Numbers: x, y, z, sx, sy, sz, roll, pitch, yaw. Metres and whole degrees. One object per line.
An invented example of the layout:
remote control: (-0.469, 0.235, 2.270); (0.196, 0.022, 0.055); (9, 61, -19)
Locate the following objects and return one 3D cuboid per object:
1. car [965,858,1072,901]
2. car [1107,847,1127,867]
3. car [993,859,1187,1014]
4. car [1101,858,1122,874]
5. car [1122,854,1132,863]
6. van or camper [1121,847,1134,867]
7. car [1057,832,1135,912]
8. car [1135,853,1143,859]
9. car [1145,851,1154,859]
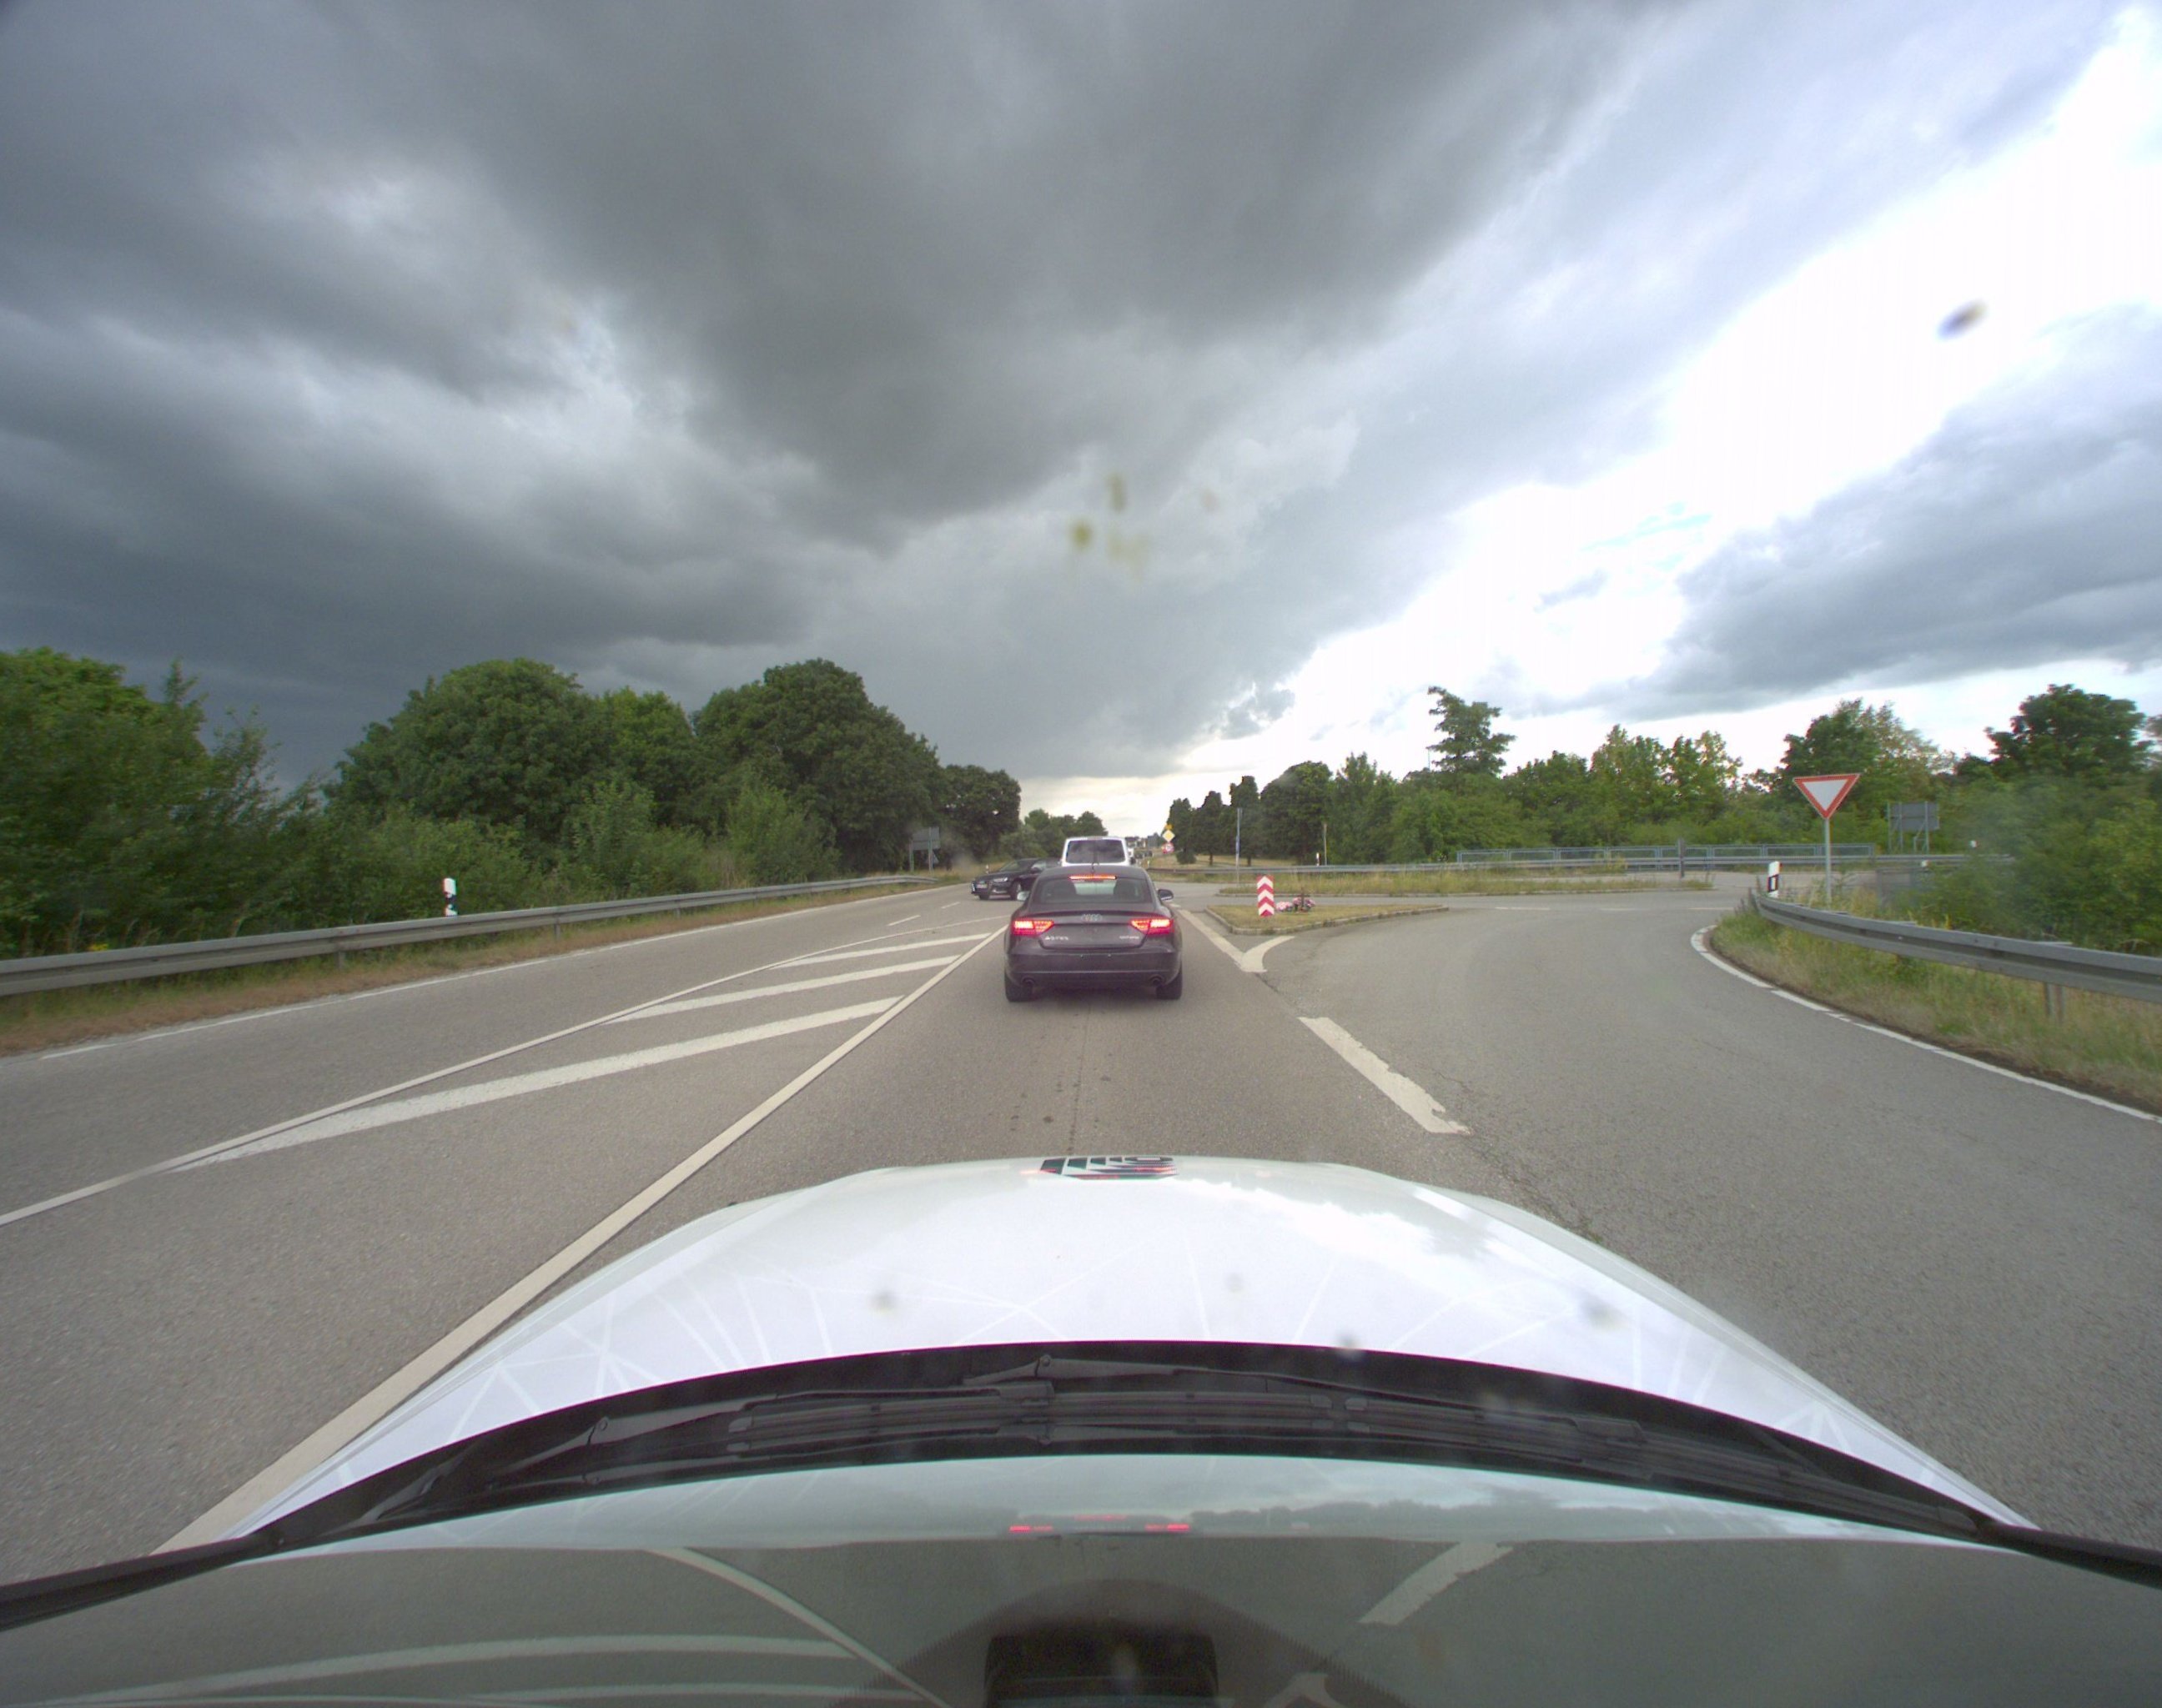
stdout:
car: (-2.145, 0.867, 29.396); (1.804, 1.374, 4.638); (-1, 0, 25)
car: (4.038, 0.345, 91.281); (1.984, 2.088, 4.005); (-1, 0, 5)
car: (0.146, 0.781, 9.533); (1.776, 1.376, 4.002); (-1, 0, 2)
car: (2.951, 1.128, 77.451); (1.787, 1.464, 3.253); (-1, 0, 5)
car: (7.427, 0.706, 132.185); (1.251, 1.353, 3.473); (-1, 0, 8)
van or camper: (8.541, 0.584, 148.903); (2.330, 3.481, 5.724); (-1, 0, 4)
car: (0.425, 0.421, 21.423); (1.832, 1.882, 4.002); (-1, 0, 2)
car: (12.966, 0.422, 183.250); (1.712, 1.451, 4.003); (0, 0, 3)
car: (17.700, 0.178, 210.343); (1.986, 2.013, 4.001); (-1, 0, 1)
